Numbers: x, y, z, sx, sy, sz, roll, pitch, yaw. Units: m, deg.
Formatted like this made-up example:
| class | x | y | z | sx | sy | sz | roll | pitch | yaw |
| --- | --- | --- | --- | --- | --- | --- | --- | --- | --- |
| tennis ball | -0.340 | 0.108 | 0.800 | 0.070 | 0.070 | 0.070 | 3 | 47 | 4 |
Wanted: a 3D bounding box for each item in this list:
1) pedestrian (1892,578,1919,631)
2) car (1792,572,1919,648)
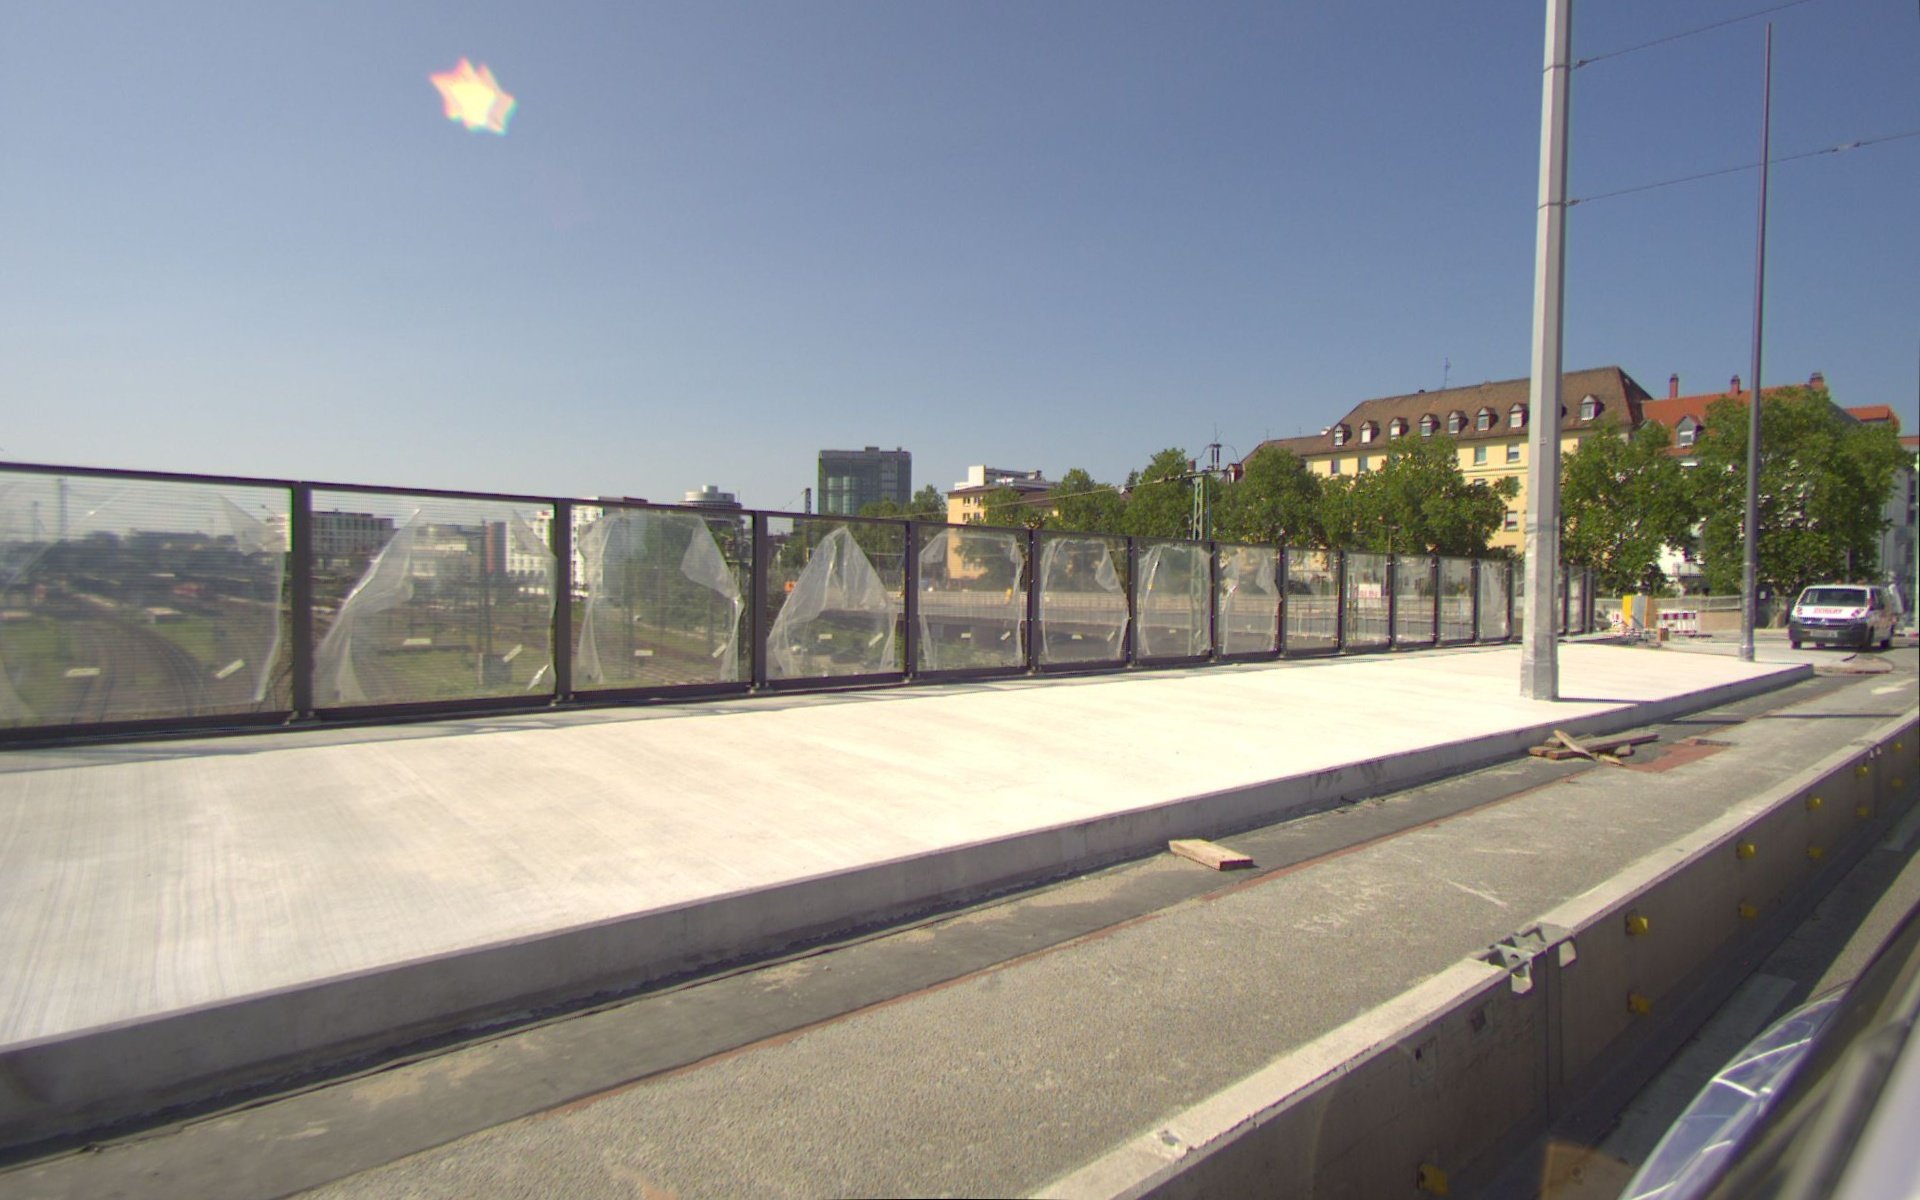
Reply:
| class | x | y | z | sx | sy | sz | roll | pitch | yaw |
| --- | --- | --- | --- | --- | --- | --- | --- | --- | --- |
| pedestrian | 37.596 | 0.166 | 40.118 | 0.828 | 2.009 | 0.761 | -1 | 3 | -40 |
| car | 27.651 | 0.293 | 31.087 | 6.352 | 2.116 | 1.938 | 1 | 1 | -39 |
